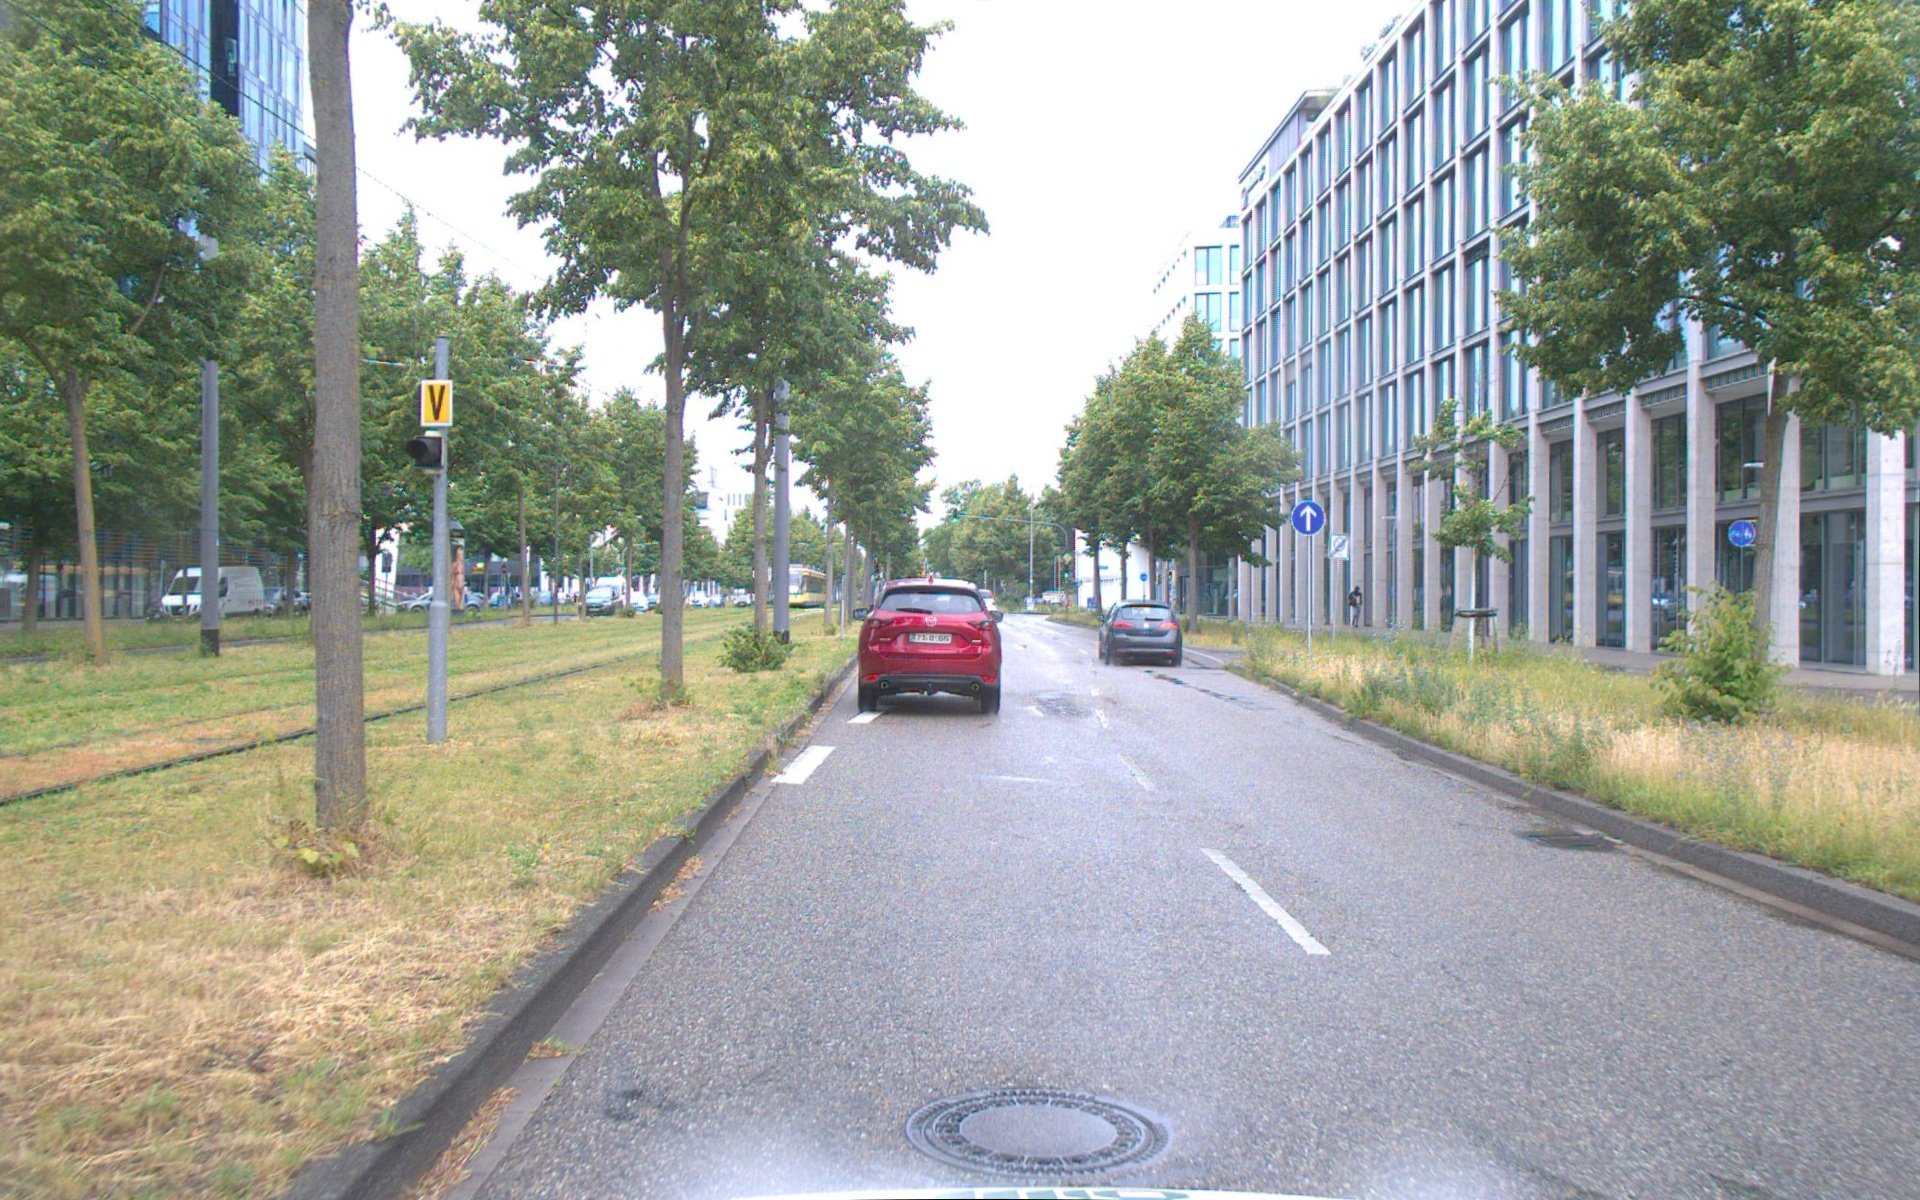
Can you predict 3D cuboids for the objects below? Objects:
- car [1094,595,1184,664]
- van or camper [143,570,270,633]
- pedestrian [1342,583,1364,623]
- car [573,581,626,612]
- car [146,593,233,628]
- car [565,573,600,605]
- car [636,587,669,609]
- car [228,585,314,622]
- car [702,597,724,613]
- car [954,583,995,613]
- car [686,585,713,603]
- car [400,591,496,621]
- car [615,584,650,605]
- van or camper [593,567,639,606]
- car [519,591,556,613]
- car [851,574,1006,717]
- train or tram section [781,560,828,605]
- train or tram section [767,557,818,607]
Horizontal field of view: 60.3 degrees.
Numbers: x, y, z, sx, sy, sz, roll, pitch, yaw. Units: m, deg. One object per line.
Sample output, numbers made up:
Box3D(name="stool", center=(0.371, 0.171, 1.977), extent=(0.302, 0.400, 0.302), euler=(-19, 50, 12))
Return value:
Box3D(name="car", center=(4.085, 0.638, 38.244), extent=(1.707, 1.490, 3.782), euler=(1, 0, 1))
Box3D(name="van or camper", center=(-29.398, 0.025, 64.765), extent=(2.384, 2.356, 5.848), euler=(0, 0, -2))
Box3D(name="pedestrian", center=(17.298, 0.117, 72.867), extent=(0.702, 1.744, 0.861), euler=(-2, 0, -2))
Box3D(name="car", center=(-18.684, -0.187, 85.833), extent=(1.825, 1.551, 4.478), euler=(0, 0, -1))
Box3D(name="car", center=(-32.662, 0.431, 70.232), extent=(1.780, 1.402, 4.181), euler=(1, 0, -2))
Box3D(name="car", center=(-31.472, -0.902, 138.092), extent=(2.212, 2.606, 4.650), euler=(1, 0, -6))
Box3D(name="car", center=(-25.179, -0.184, 135.532), extent=(1.848, 1.483, 3.999), euler=(8, 0, -2))
Box3D(name="car", center=(-29.515, 0.123, 70.976), extent=(1.954, 1.548, 4.604), euler=(0, 0, -3))
Box3D(name="car", center=(-27.033, 0.558, 181.090), extent=(1.954, 1.646, 3.998), euler=(0, 0, -3))
Box3D(name="car", center=(0.734, -0.112, 85.767), extent=(1.928, 1.462, 4.551), euler=(2, 0, -2))
Box3D(name="car", center=(-21.259, -0.503, 134.890), extent=(1.675, 1.429, 3.999), euler=(0, 0, -2))
Box3D(name="car", center=(-27.976, 0.316, 90.386), extent=(4.634, 1.548, 1.973), euler=(0, 0, -39))
Box3D(name="car", center=(-23.767, -0.427, 120.256), extent=(1.847, 1.485, 3.999), euler=(0, 0, -2))
Box3D(name="van or camper", center=(-22.024, -0.871, 106.039), extent=(1.870, 2.453, 5.401), euler=(0, 0, -1))
Box3D(name="car", center=(-31.013, 0.125, 121.561), extent=(1.955, 1.510, 4.440), euler=(1, 0, -6))
Box3D(name="car", center=(-0.450, 0.538, 21.981), extent=(1.860, 1.706, 3.998), euler=(1, 0, -2))
Box3D(name="train or tram section", center=(-13.477, -1.489, 144.660), extent=(3.065, 3.723, 15.059), euler=(0, 0, -2))
Box3D(name="train or tram section", center=(-13.102, -1.411, 130.479), extent=(3.066, 3.723, 13.402), euler=(0, 0, -2))
